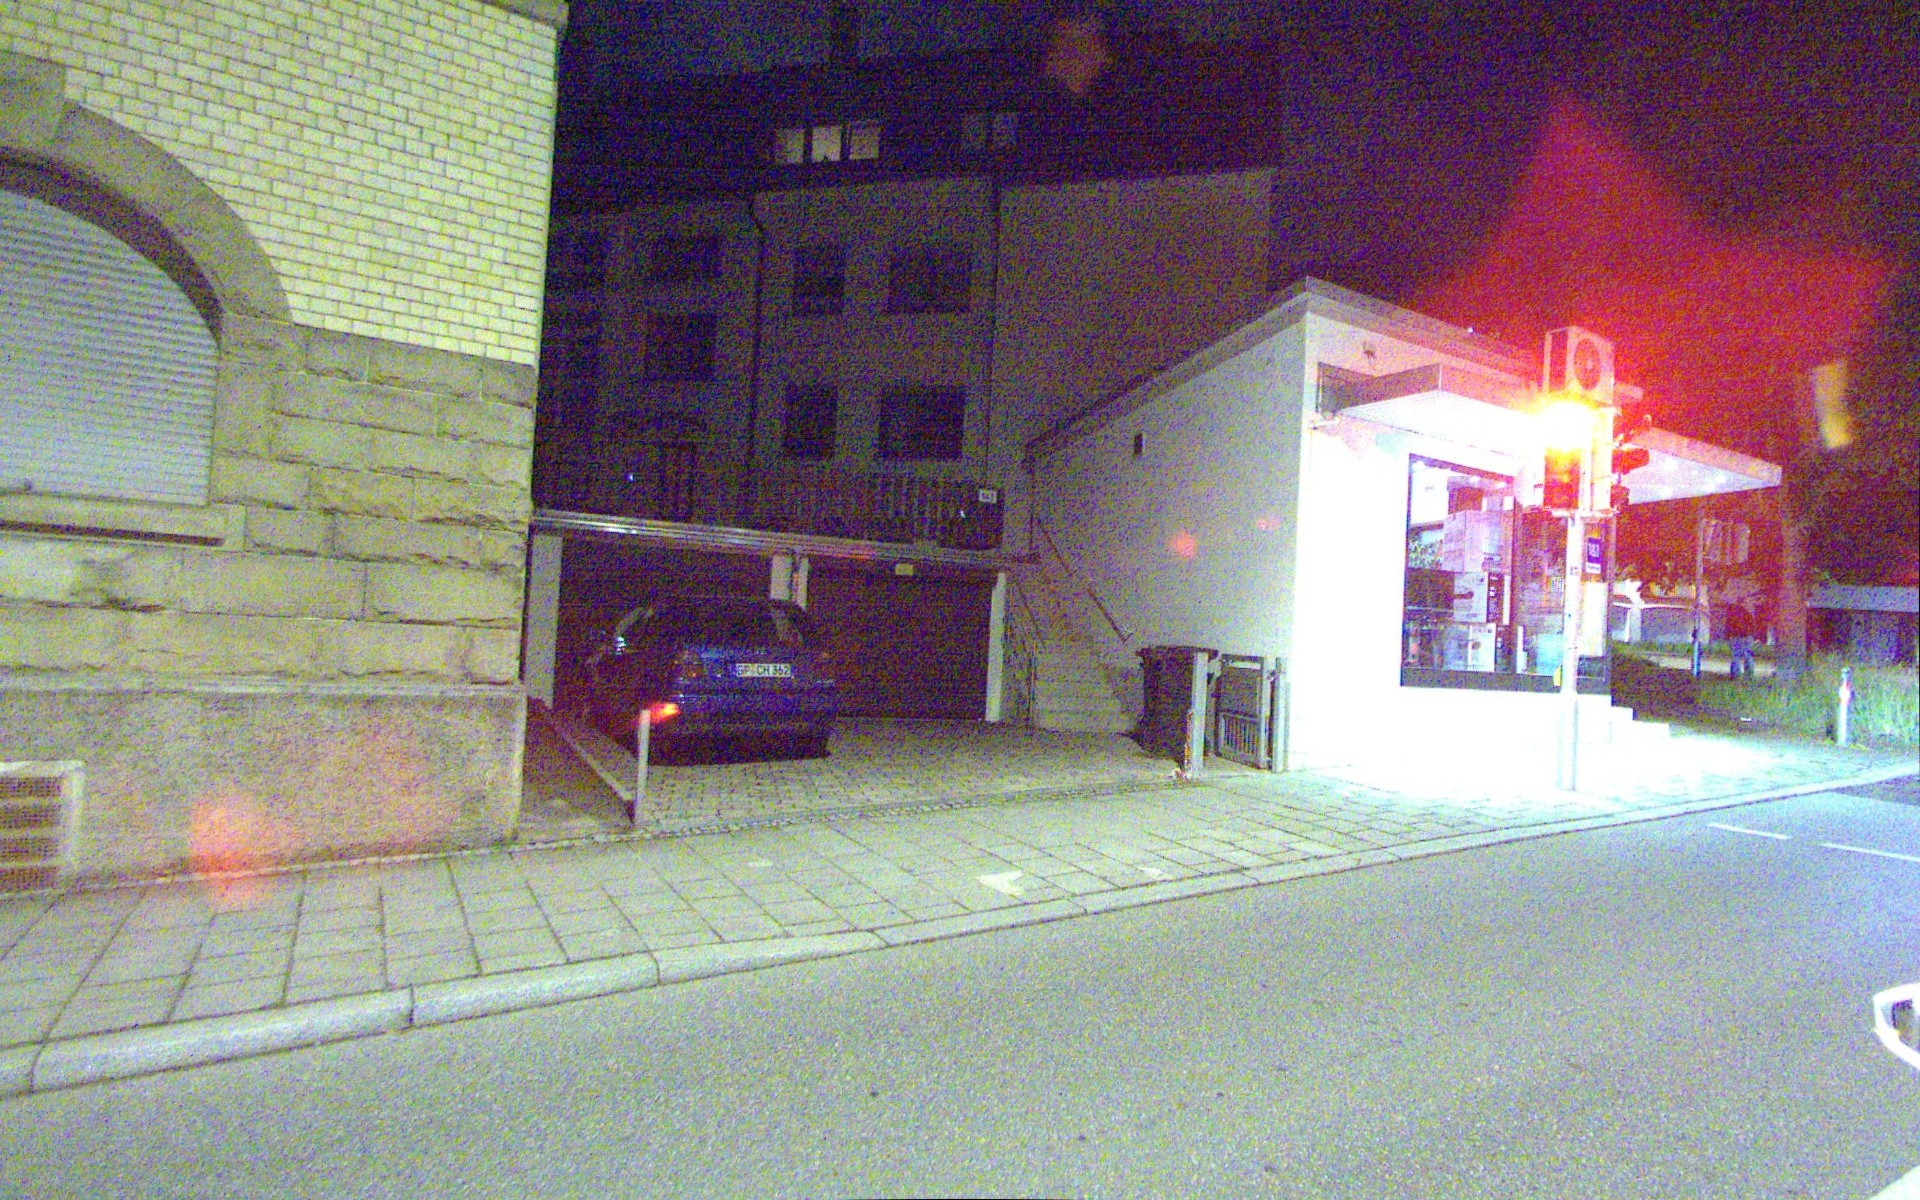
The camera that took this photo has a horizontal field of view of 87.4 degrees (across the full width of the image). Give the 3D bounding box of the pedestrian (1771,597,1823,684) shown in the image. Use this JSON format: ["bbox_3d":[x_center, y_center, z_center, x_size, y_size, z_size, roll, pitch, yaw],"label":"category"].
[{"bbox_3d":[17.889,0.862,21.476,0.729,1.801,0.567,2,2,-30],"label":"pedestrian"}]

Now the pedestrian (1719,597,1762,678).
[{"bbox_3d":[17.361,0.830,22.349,0.537,1.754,0.567,2,0,-30],"label":"pedestrian"}]

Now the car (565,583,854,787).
[{"bbox_3d":[-2.549,0.636,9.545,1.700,1.460,3.631,2,1,-30],"label":"car"}]
